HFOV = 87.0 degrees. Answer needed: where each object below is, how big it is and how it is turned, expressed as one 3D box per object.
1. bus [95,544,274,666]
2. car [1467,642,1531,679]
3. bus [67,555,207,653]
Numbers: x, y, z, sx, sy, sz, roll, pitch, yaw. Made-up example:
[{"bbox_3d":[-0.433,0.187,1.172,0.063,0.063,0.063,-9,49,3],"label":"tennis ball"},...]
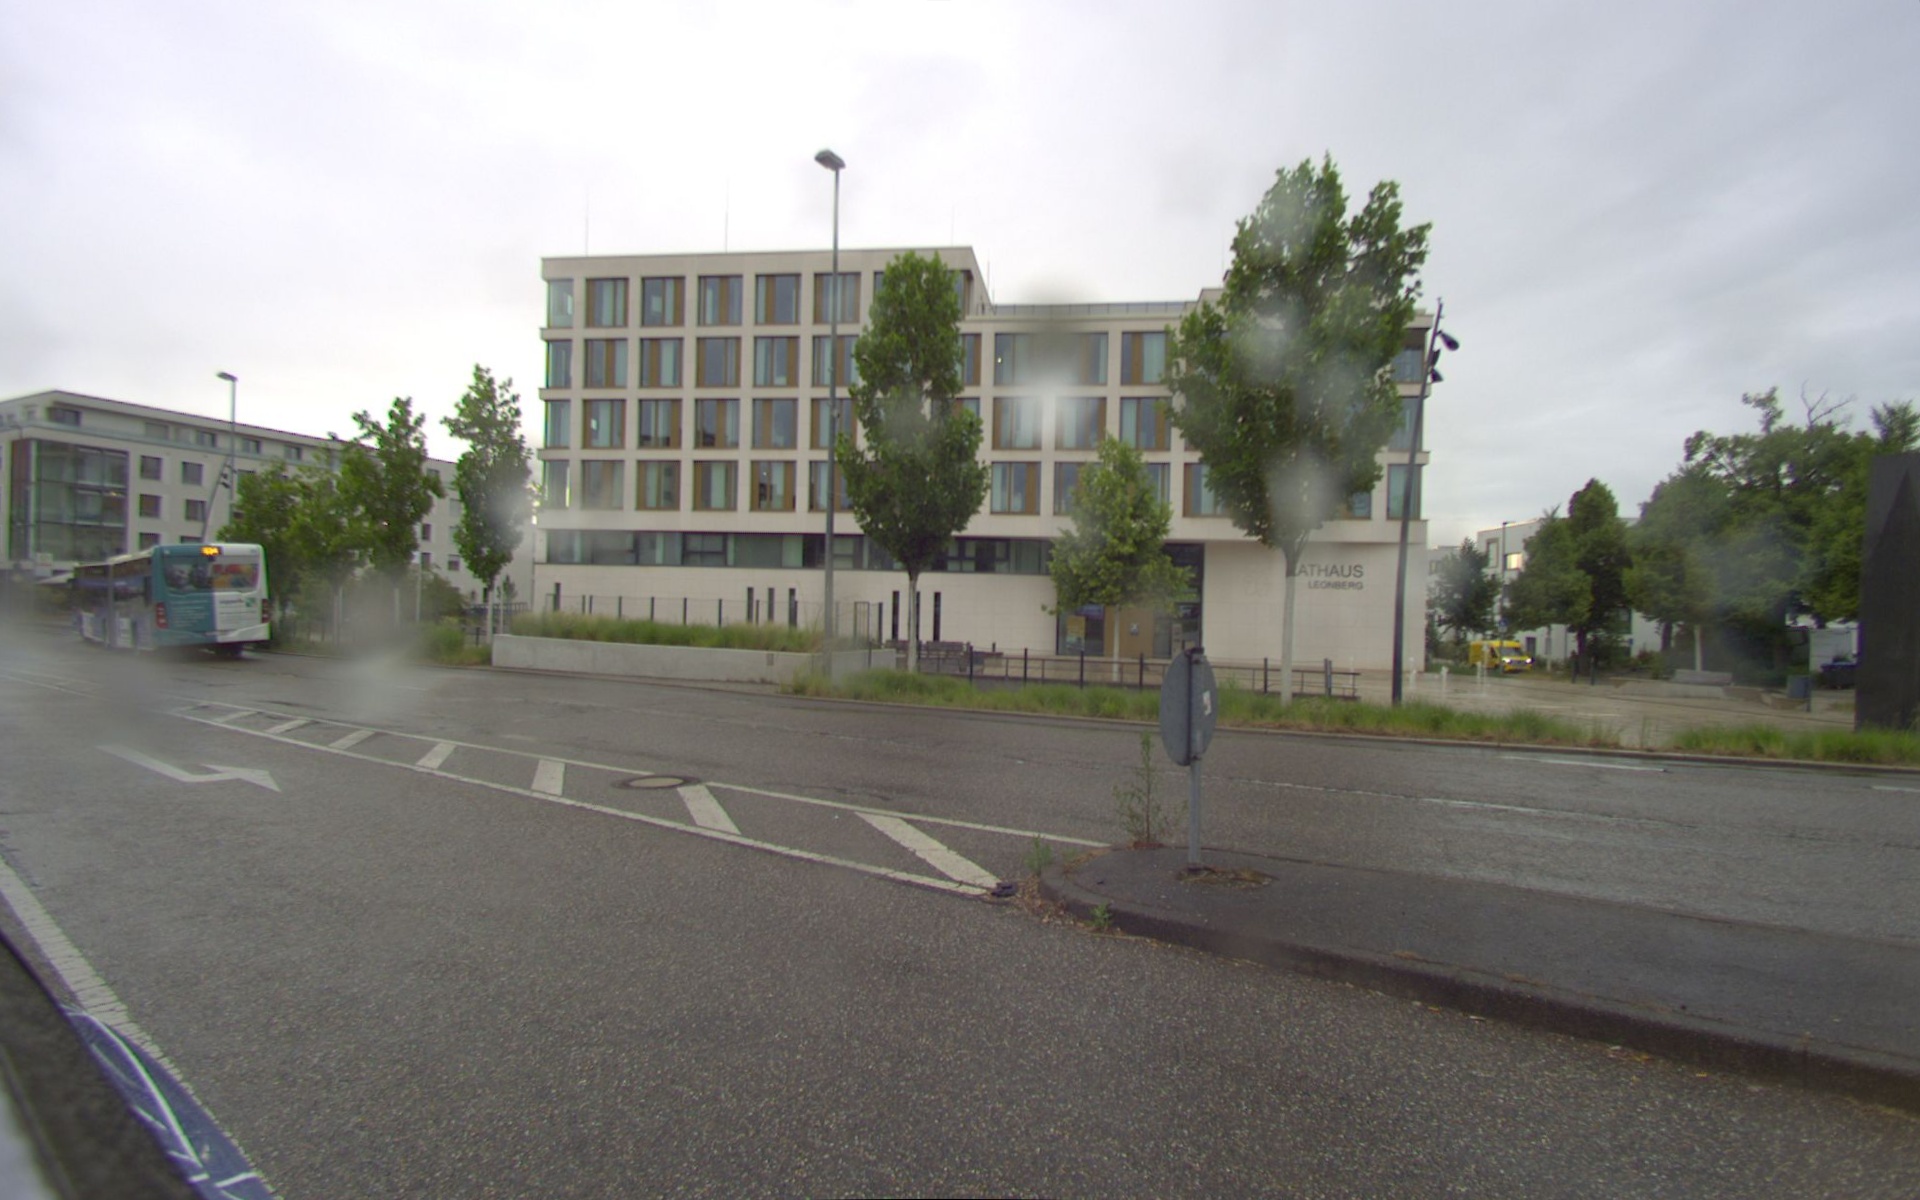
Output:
[{"bbox_3d":[-23.335,0.201,30.203,9.369,3.138,2.746,-1,-2,43],"label":"bus"},{"bbox_3d":[37.106,4.156,69.859,1.977,2.428,5.902,1,-3,8],"label":"car"},{"bbox_3d":[-29.865,0.187,36.547,8.885,3.138,2.760,-1,-2,44],"label":"bus"}]
